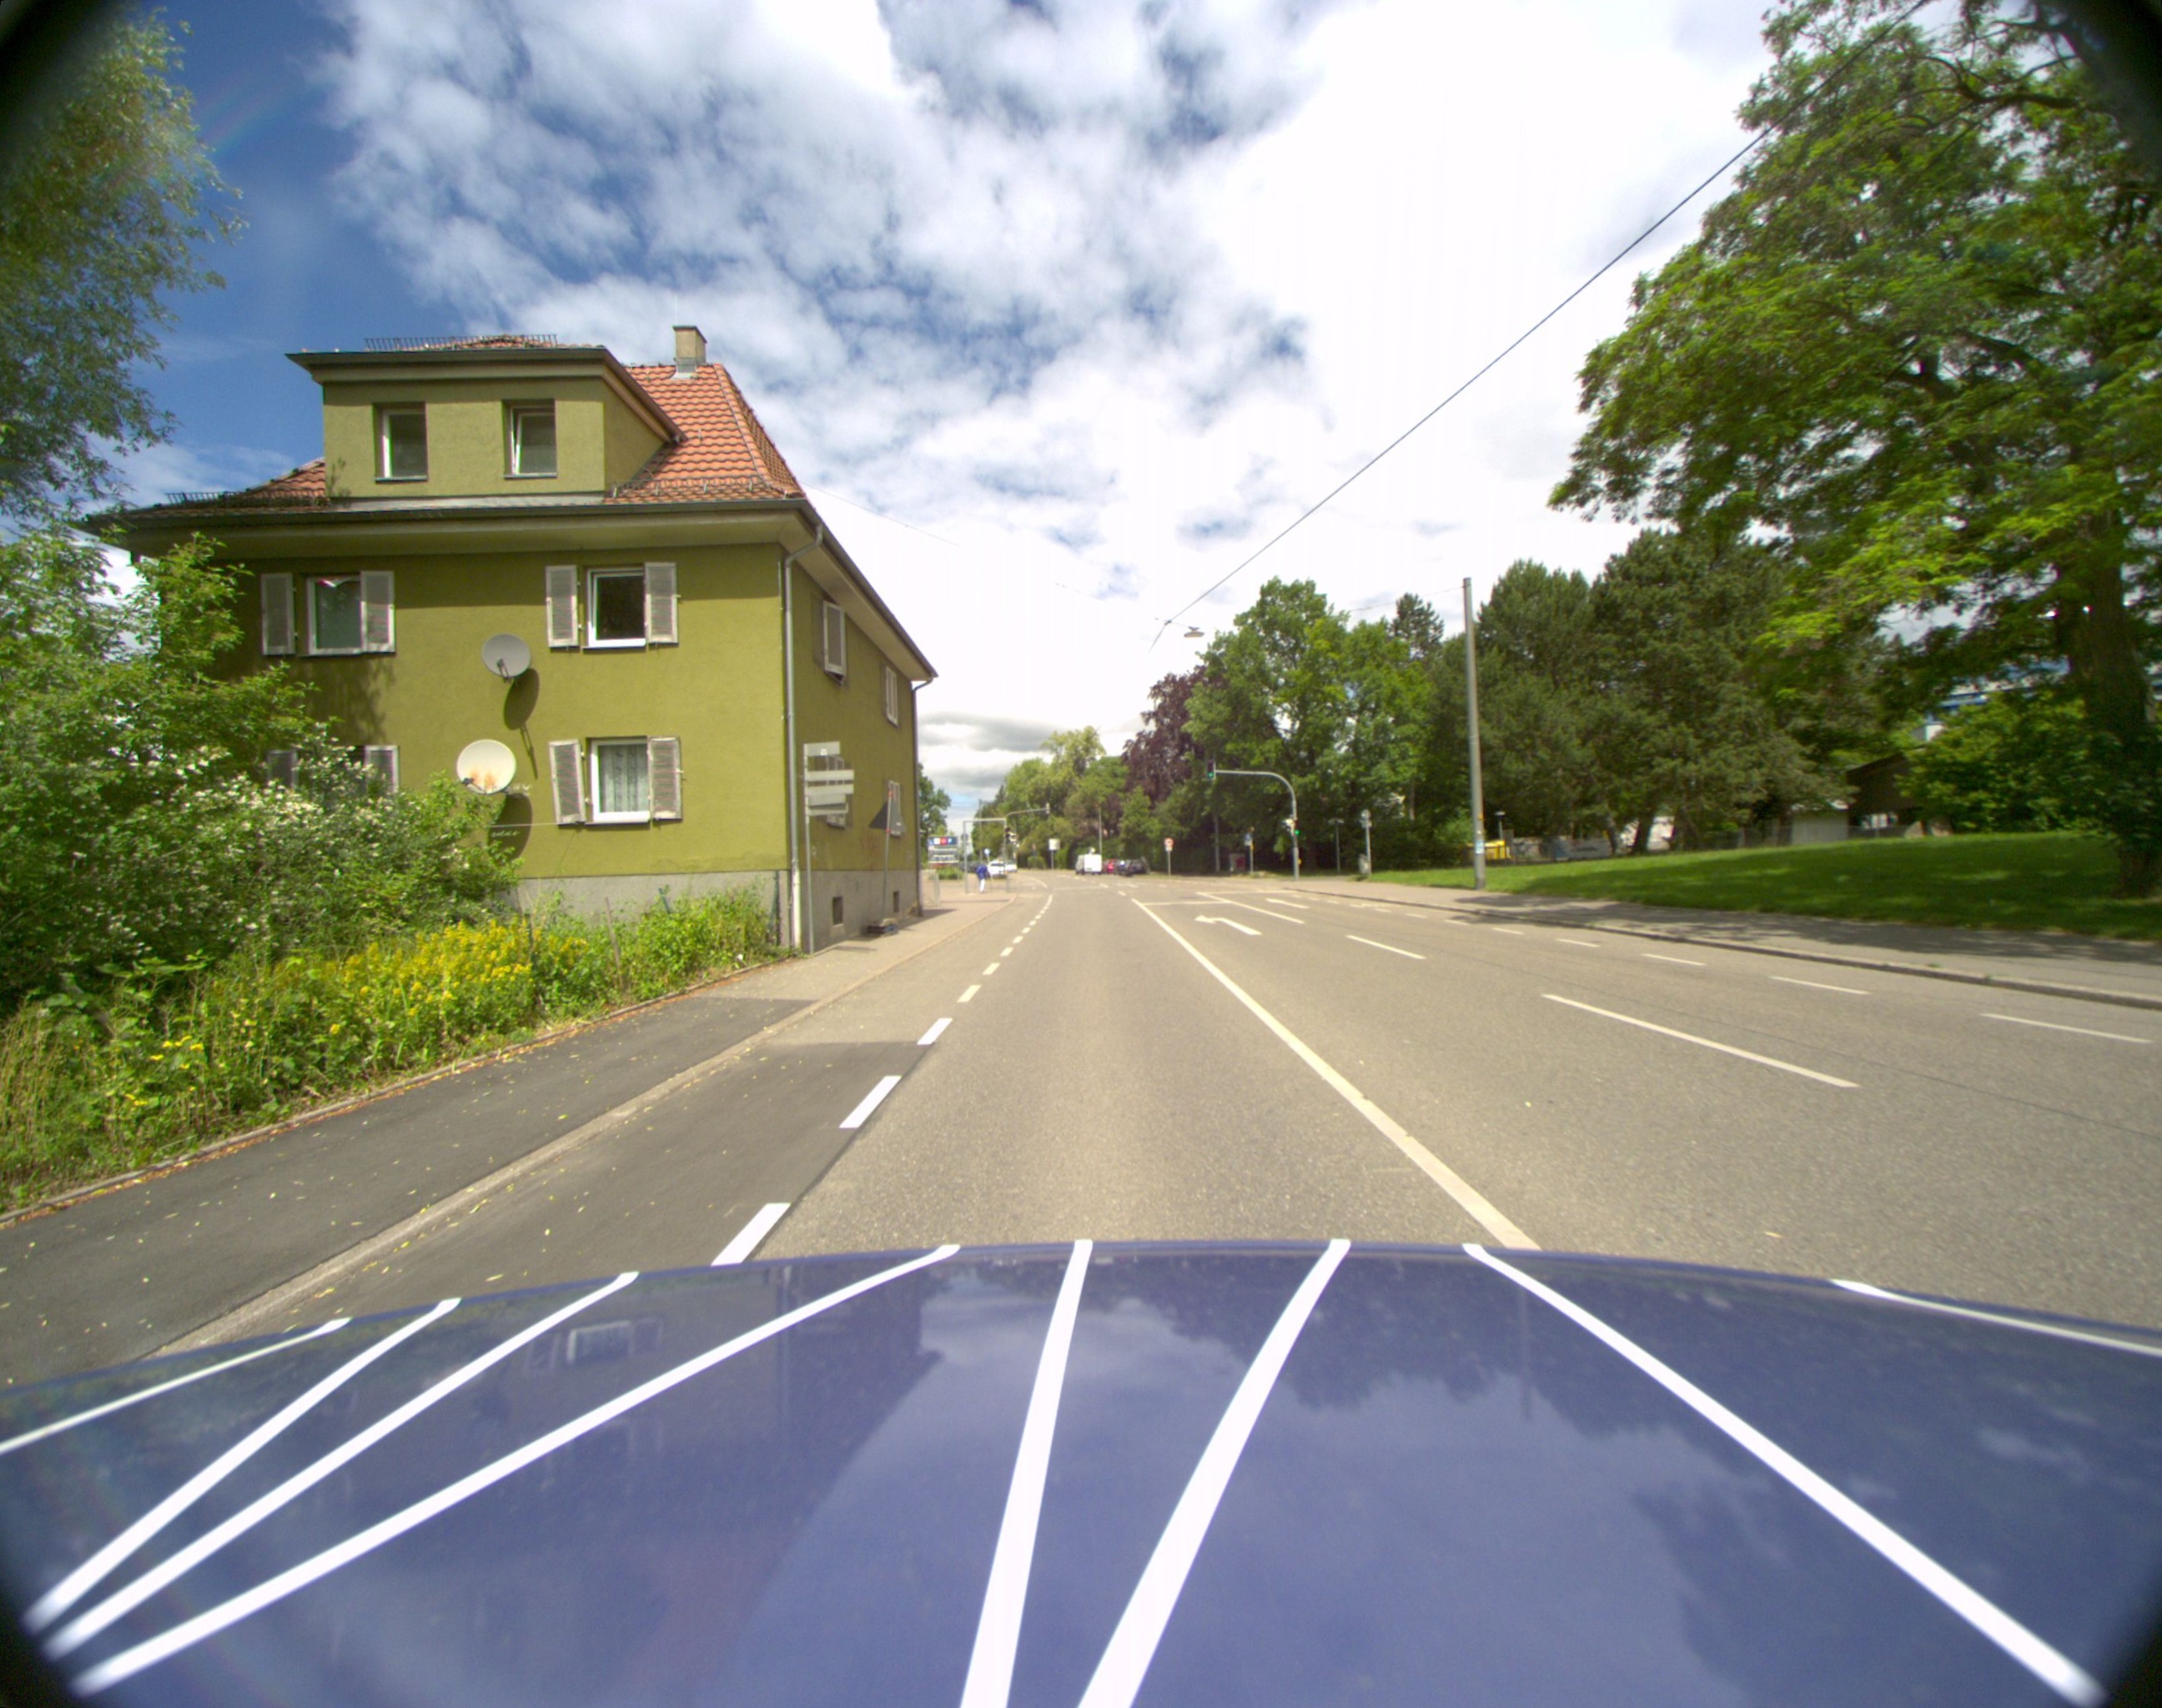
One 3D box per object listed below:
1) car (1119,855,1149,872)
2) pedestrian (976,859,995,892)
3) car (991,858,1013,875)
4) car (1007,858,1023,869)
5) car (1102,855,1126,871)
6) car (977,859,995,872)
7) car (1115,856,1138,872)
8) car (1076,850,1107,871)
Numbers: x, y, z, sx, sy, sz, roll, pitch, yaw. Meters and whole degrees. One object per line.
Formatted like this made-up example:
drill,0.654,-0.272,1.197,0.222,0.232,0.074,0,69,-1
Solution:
car,4.731,0.827,67.898,1.688,1.407,4.398,-3,1,-9
pedestrian,-4.703,1.041,37.426,0.826,1.563,0.987,-1,0,-4
car,-7.230,1.101,68.991,1.796,1.522,3.918,1,0,-9
car,-8.804,1.224,100.911,1.552,1.418,3.852,-3,0,-12
car,3.313,0.929,76.930,1.524,1.469,3.321,-3,0,-12
car,-12.237,1.440,97.298,1.707,1.522,3.995,-3,0,-15
car,4.329,0.939,72.587,1.560,1.404,3.191,-3,1,-9
car,0.966,0.614,73.929,2.000,2.011,5.347,-1,0,-10
